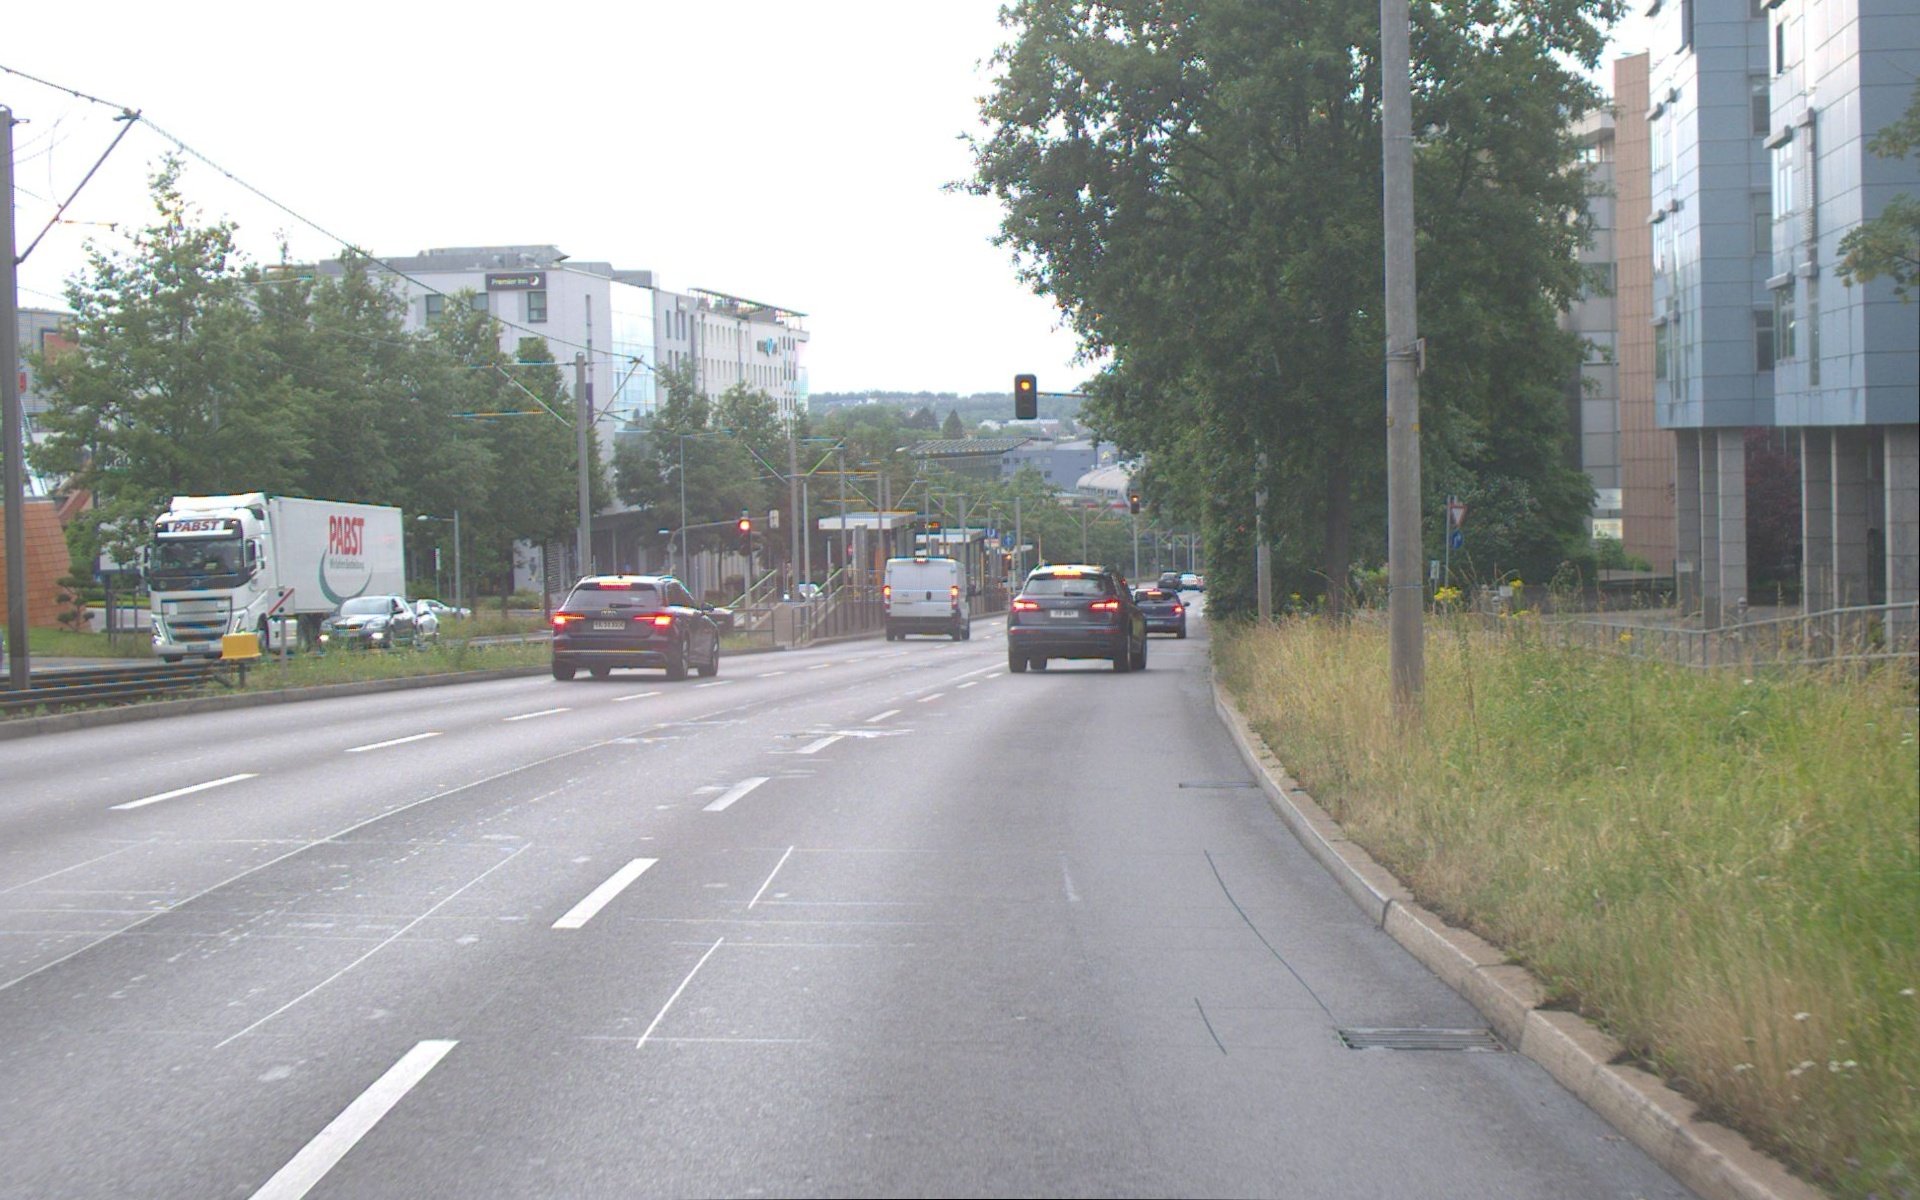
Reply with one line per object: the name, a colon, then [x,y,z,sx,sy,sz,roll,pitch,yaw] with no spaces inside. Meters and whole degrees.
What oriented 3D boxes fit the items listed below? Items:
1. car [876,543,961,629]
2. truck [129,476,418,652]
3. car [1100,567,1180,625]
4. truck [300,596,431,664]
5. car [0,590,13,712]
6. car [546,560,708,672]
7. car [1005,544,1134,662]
car: [-1.170,-0.423,94.968,2.267,2.277,4.760,0,1,-1]
truck: [-17.674,-1.016,90.249,3.042,4.166,17.200,0,1,4]
car: [5.241,-0.138,100.374,1.789,1.585,4.001,-2,1,-4]
truck: [-14.729,0.735,85.355,1.942,1.562,4.543,-2,0,7]
car: [-16.552,0.830,54.054,2.013,1.969,4.616,0,0,1]
car: [-4.571,0.180,47.786,1.786,1.409,4.806,0,1,0]
car: [1.718,0.008,53.649,1.922,1.704,4.098,0,2,2]
